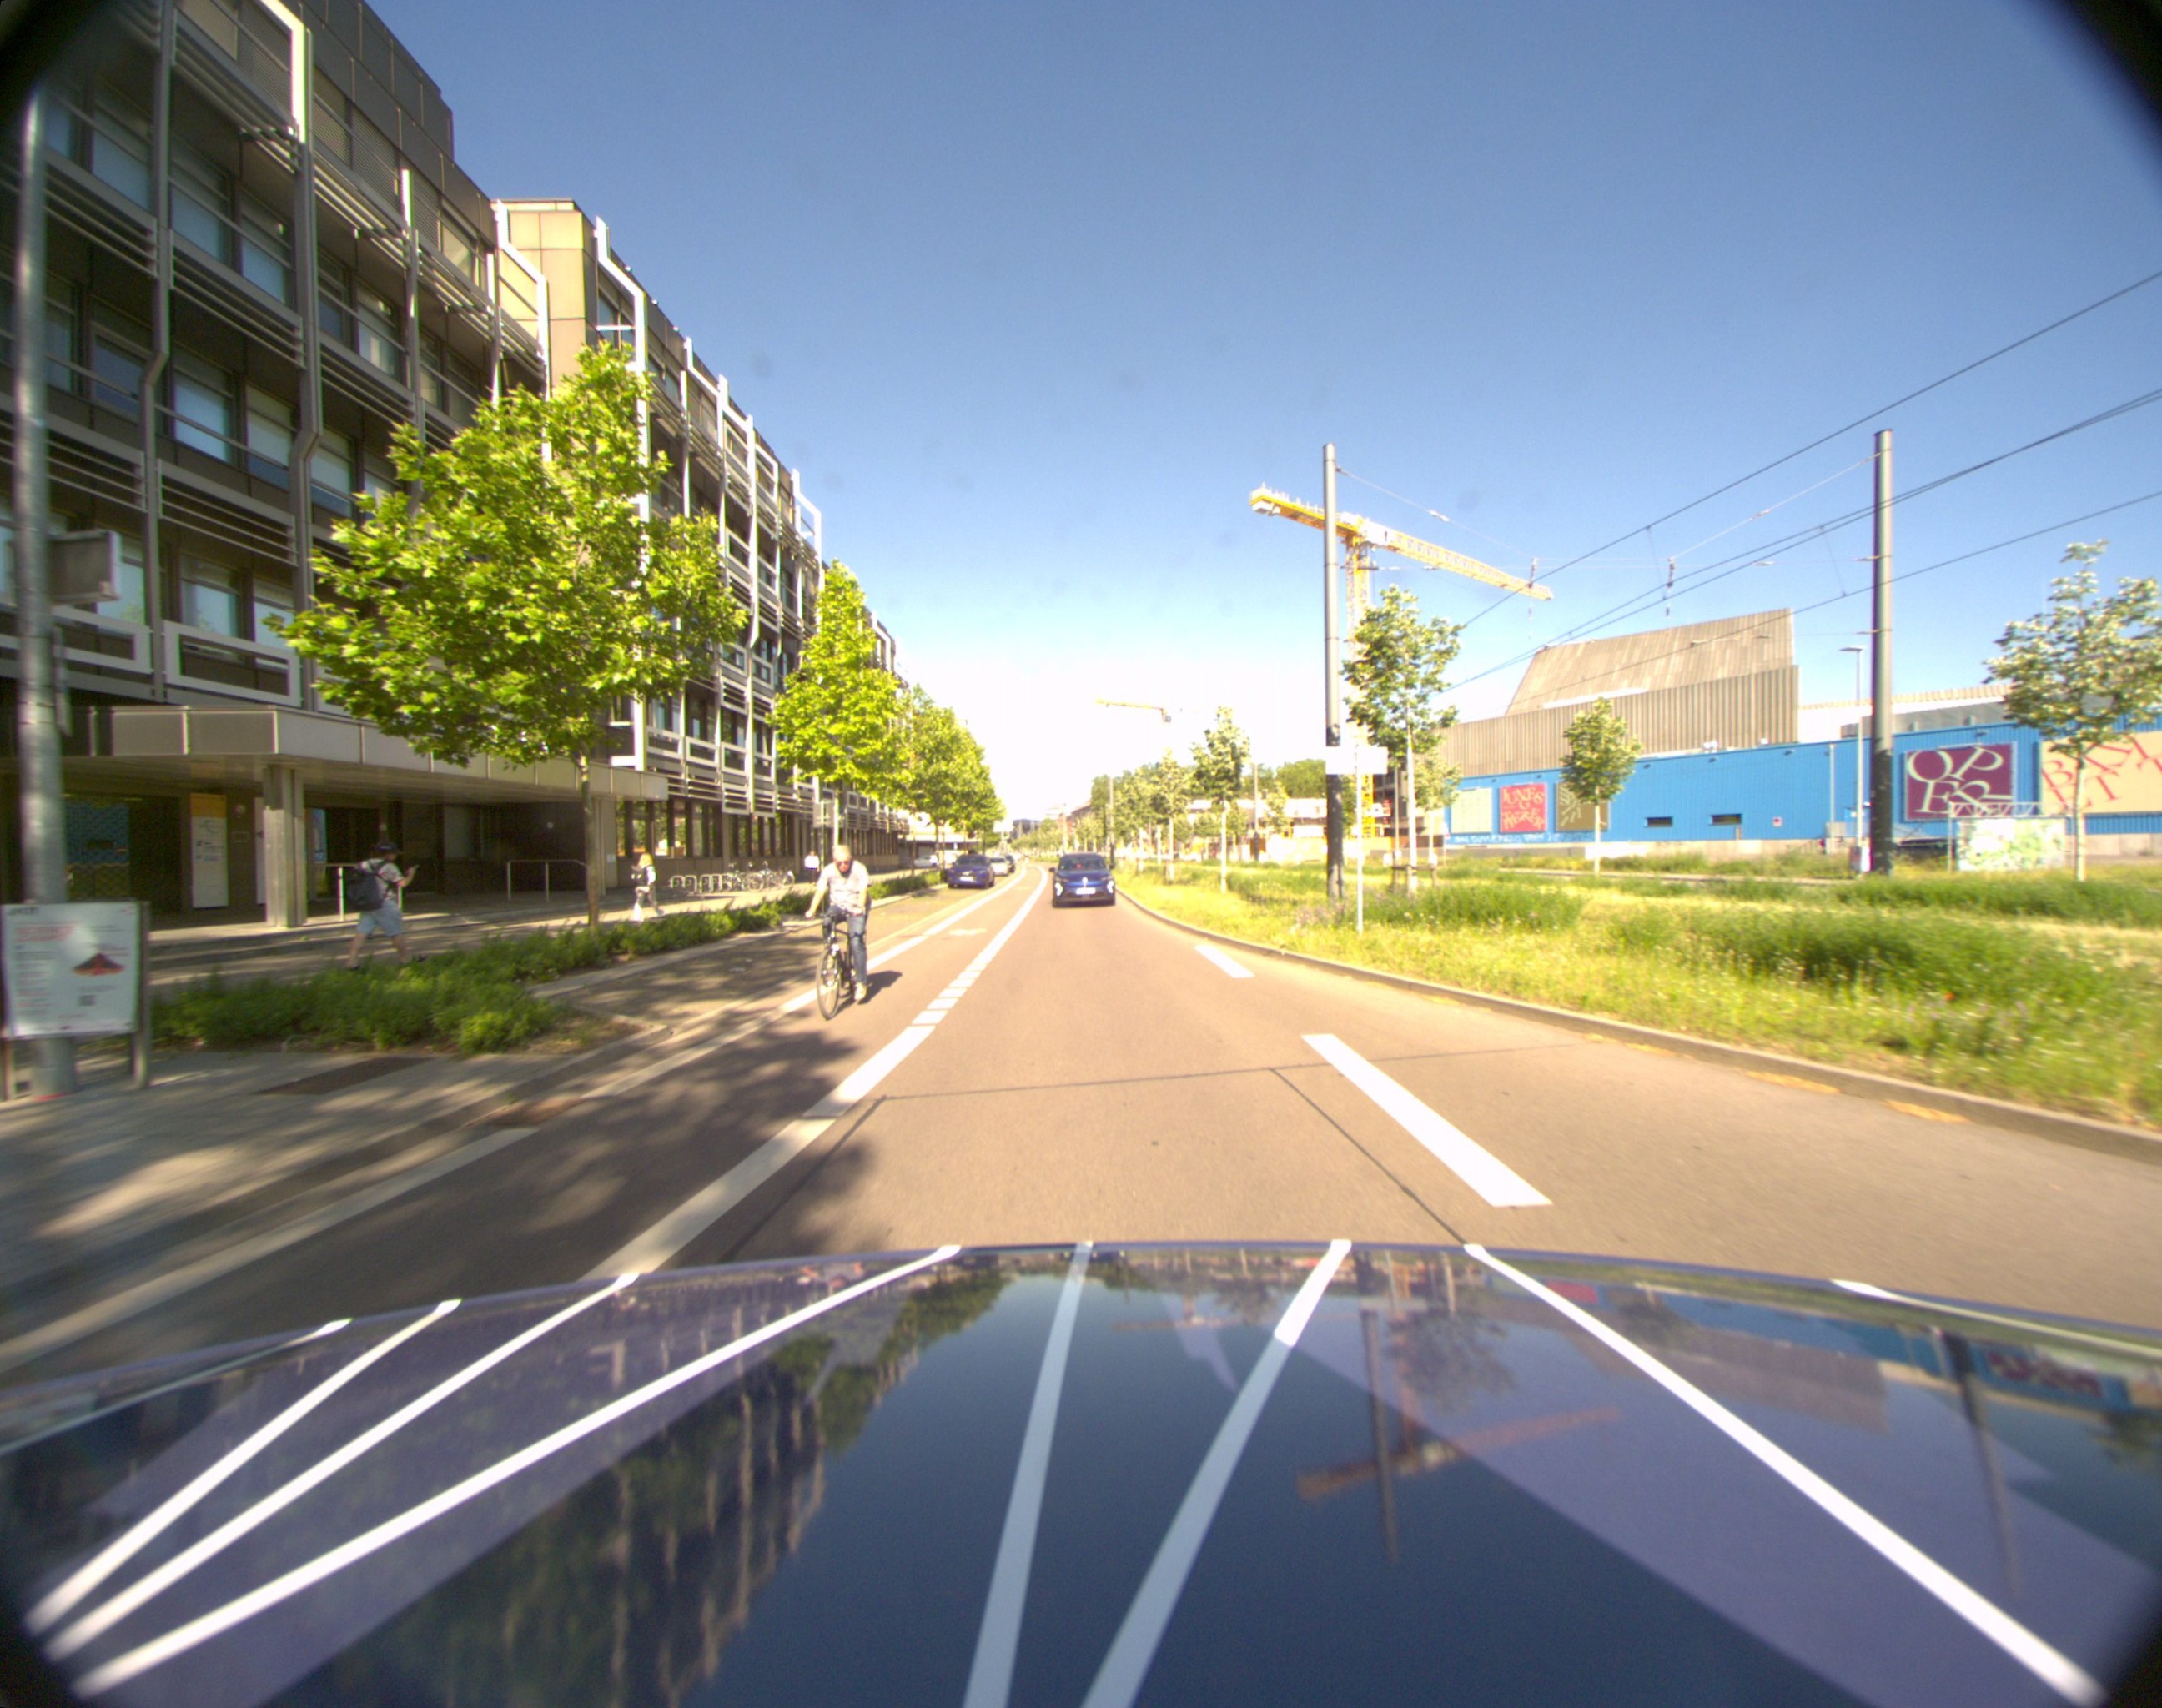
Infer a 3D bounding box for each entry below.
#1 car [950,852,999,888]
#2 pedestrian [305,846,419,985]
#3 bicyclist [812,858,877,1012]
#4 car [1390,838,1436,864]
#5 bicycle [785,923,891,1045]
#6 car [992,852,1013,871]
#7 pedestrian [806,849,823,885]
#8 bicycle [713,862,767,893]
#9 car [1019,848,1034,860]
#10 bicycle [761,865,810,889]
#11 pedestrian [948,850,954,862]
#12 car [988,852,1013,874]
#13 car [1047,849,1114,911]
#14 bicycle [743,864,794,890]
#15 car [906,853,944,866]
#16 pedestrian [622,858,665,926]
[{"bbox_3d":[-5.194,0.719,37.540,1.854,1.647,4.847,0,0,-1],"label":"car"},{"bbox_3d":[-9.326,0.767,9.893,0.649,1.718,0.803,-1,1,1],"label":"pedestrian"},{"bbox_3d":[-2.541,0.848,8.198,0.514,1.592,0.536,-1,1,-3],"label":"bicyclist"},{"bbox_3d":[24.807,-0.277,56.917,1.802,1.788,3.999,-3,1,2],"label":"car"},{"bbox_3d":[-2.537,1.314,8.186,0.499,0.900,2.196,-3,1,-3],"label":"bicycle"},{"bbox_3d":[-6.931,0.645,67.777,1.753,1.649,4.467,-1,1,-5],"label":"car"},{"bbox_3d":[-12.111,0.569,34.567,0.512,1.613,0.674,1,1,1],"label":"pedestrian"},{"bbox_3d":[-12.847,0.880,28.629,1.862,1.091,0.427,1,1,3],"label":"bicycle"},{"bbox_3d":[-8.667,-0.002,121.552,1.822,1.784,3.999,-3,1,2],"label":"car"},{"bbox_3d":[-12.224,0.940,31.483,1.862,0.933,0.427,1,1,3],"label":"bicycle"},{"bbox_3d":[-16.023,0.236,93.485,0.683,1.442,0.542,-1,1,-12],"label":"pedestrian"},{"bbox_3d":[-5.887,0.632,55.654,1.622,1.456,4.153,0,0,-3],"label":"car"},{"bbox_3d":[-0.023,0.710,23.315,1.749,1.613,4.152,-4,0,0],"label":"car"},{"bbox_3d":[-12.434,0.907,30.208,1.862,1.005,0.427,1,1,3],"label":"bicycle"},{"bbox_3d":[-19.077,0.663,92.938,4.410,1.535,1.851,-1,1,-15],"label":"car"},{"bbox_3d":[-9.751,0.822,16.948,0.512,1.466,0.736,2,1,1],"label":"pedestrian"}]
